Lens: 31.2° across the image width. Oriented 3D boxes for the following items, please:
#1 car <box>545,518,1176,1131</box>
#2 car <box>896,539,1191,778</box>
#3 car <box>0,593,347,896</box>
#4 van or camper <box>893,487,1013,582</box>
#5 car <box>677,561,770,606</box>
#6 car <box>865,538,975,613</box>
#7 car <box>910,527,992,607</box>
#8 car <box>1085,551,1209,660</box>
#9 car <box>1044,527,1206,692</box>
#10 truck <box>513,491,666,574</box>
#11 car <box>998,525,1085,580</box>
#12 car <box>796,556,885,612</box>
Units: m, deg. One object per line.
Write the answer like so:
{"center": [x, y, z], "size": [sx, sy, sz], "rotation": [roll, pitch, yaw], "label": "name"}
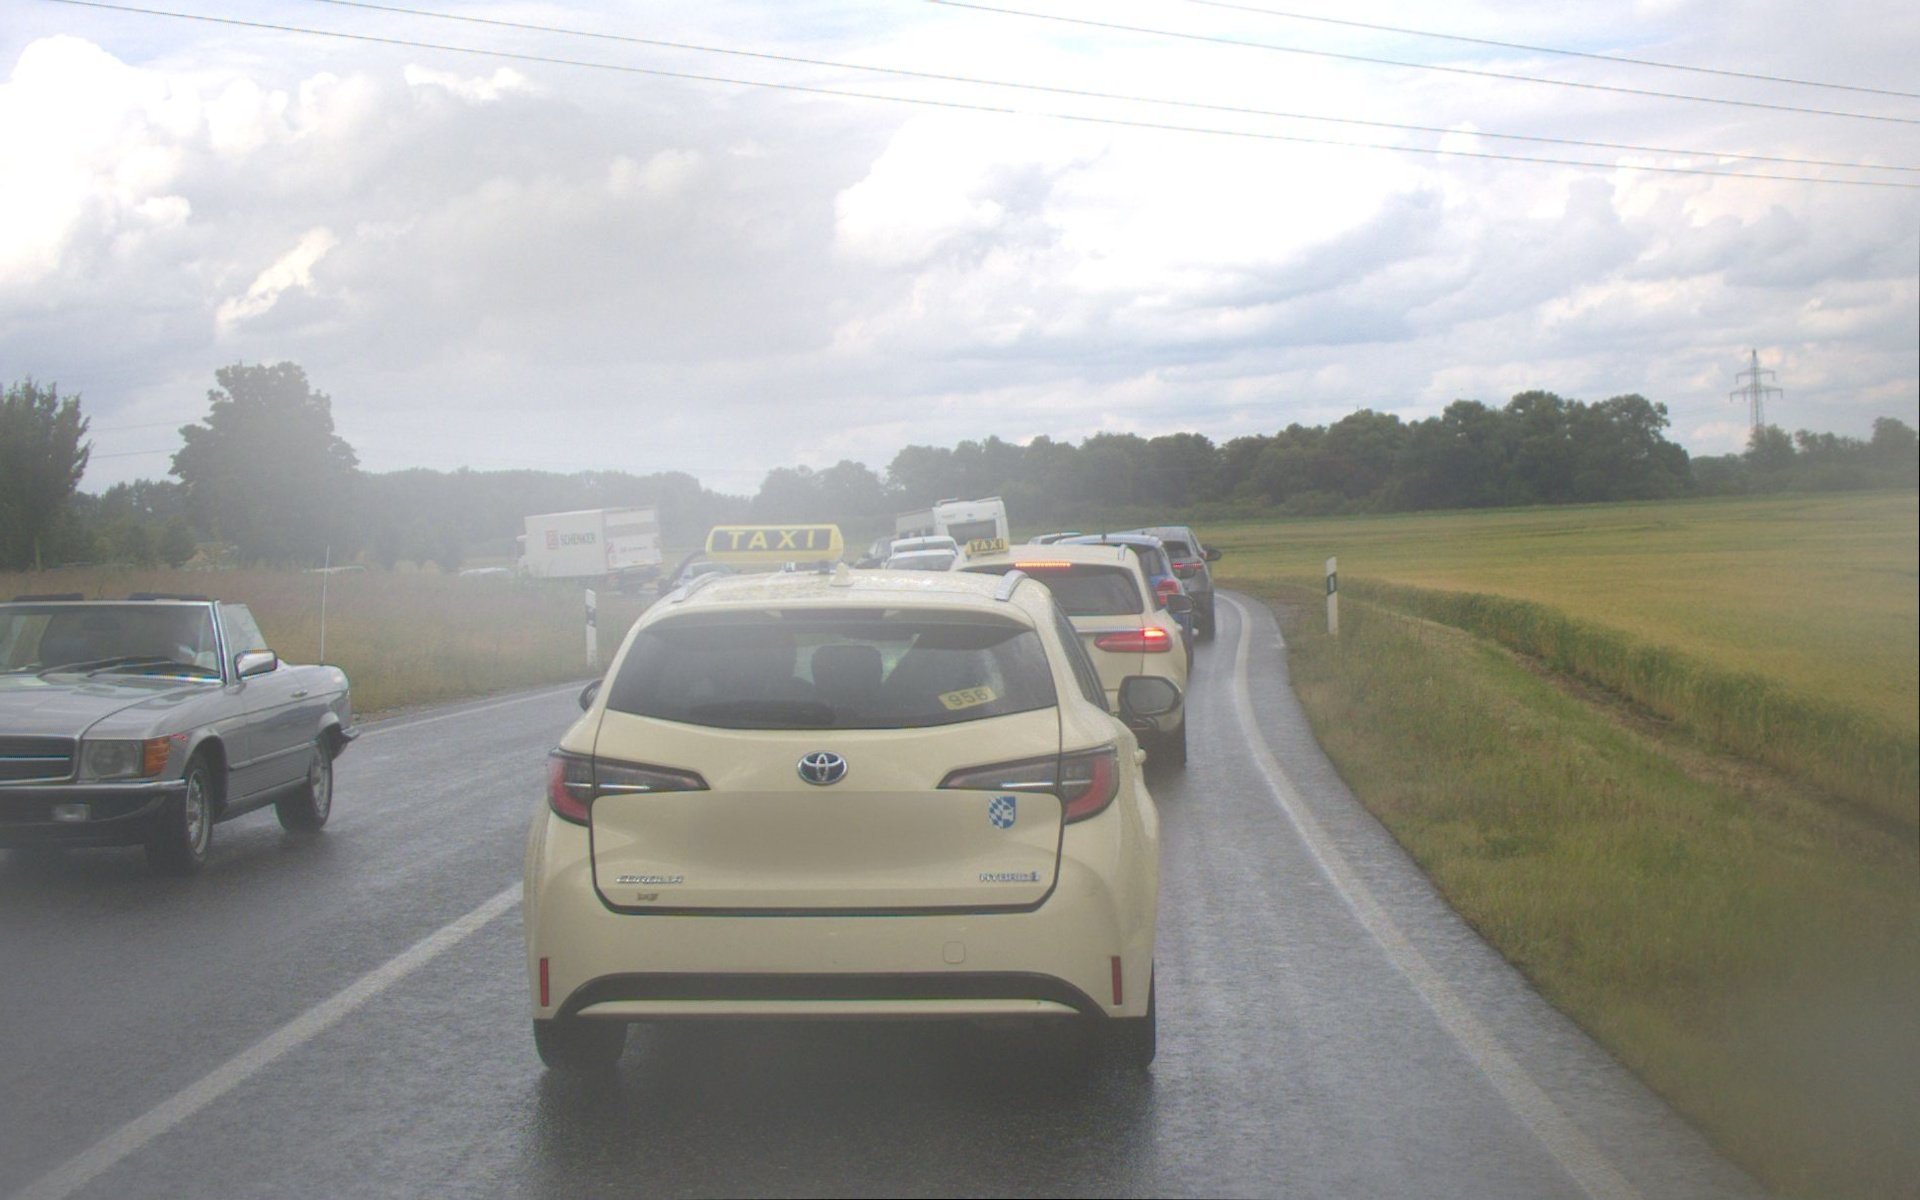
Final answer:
{"center": [-0.173, 0.577, 10.653], "size": [1.613, 1.557, 3.738], "rotation": [0, 0, 3], "label": "car"}
{"center": [0.633, 0.326, 23.732], "size": [1.841, 1.487, 4.608], "rotation": [0, 1, 3], "label": "car"}
{"center": [-4.265, 0.626, 16.974], "size": [1.719, 1.247, 4.000], "rotation": [0, 1, 1], "label": "car"}
{"center": [-0.273, -2.044, 108.093], "size": [2.536, 2.886, 6.745], "rotation": [0, 1, -11], "label": "van or camper"}
{"center": [-8.086, -0.557, 117.363], "size": [1.848, 1.443, 4.091], "rotation": [-3, 1, -23], "label": "car"}
{"center": [-0.732, -0.480, 66.181], "size": [1.844, 1.383, 4.287], "rotation": [0, 1, 3], "label": "car"}
{"center": [-0.242, -0.778, 81.421], "size": [1.844, 1.849, 4.447], "rotation": [0, 1, -2], "label": "car"}
{"center": [2.571, 0.076, 46.693], "size": [1.613, 1.408, 3.738], "rotation": [0, 0, 4], "label": "car"}
{"center": [1.726, 0.099, 36.274], "size": [1.613, 1.653, 3.738], "rotation": [0, 0, 2], "label": "car"}
{"center": [-15.213, -2.726, 140.606], "size": [3.013, 3.198, 8.232], "rotation": [0, 0, -32], "label": "truck"}
{"center": [2.163, -1.249, 91.997], "size": [1.783, 1.408, 3.739], "rotation": [0, 0, -7], "label": "car"}
{"center": [-3.639, -0.495, 103.853], "size": [1.848, 1.626, 4.536], "rotation": [-2, 1, -13], "label": "car"}
